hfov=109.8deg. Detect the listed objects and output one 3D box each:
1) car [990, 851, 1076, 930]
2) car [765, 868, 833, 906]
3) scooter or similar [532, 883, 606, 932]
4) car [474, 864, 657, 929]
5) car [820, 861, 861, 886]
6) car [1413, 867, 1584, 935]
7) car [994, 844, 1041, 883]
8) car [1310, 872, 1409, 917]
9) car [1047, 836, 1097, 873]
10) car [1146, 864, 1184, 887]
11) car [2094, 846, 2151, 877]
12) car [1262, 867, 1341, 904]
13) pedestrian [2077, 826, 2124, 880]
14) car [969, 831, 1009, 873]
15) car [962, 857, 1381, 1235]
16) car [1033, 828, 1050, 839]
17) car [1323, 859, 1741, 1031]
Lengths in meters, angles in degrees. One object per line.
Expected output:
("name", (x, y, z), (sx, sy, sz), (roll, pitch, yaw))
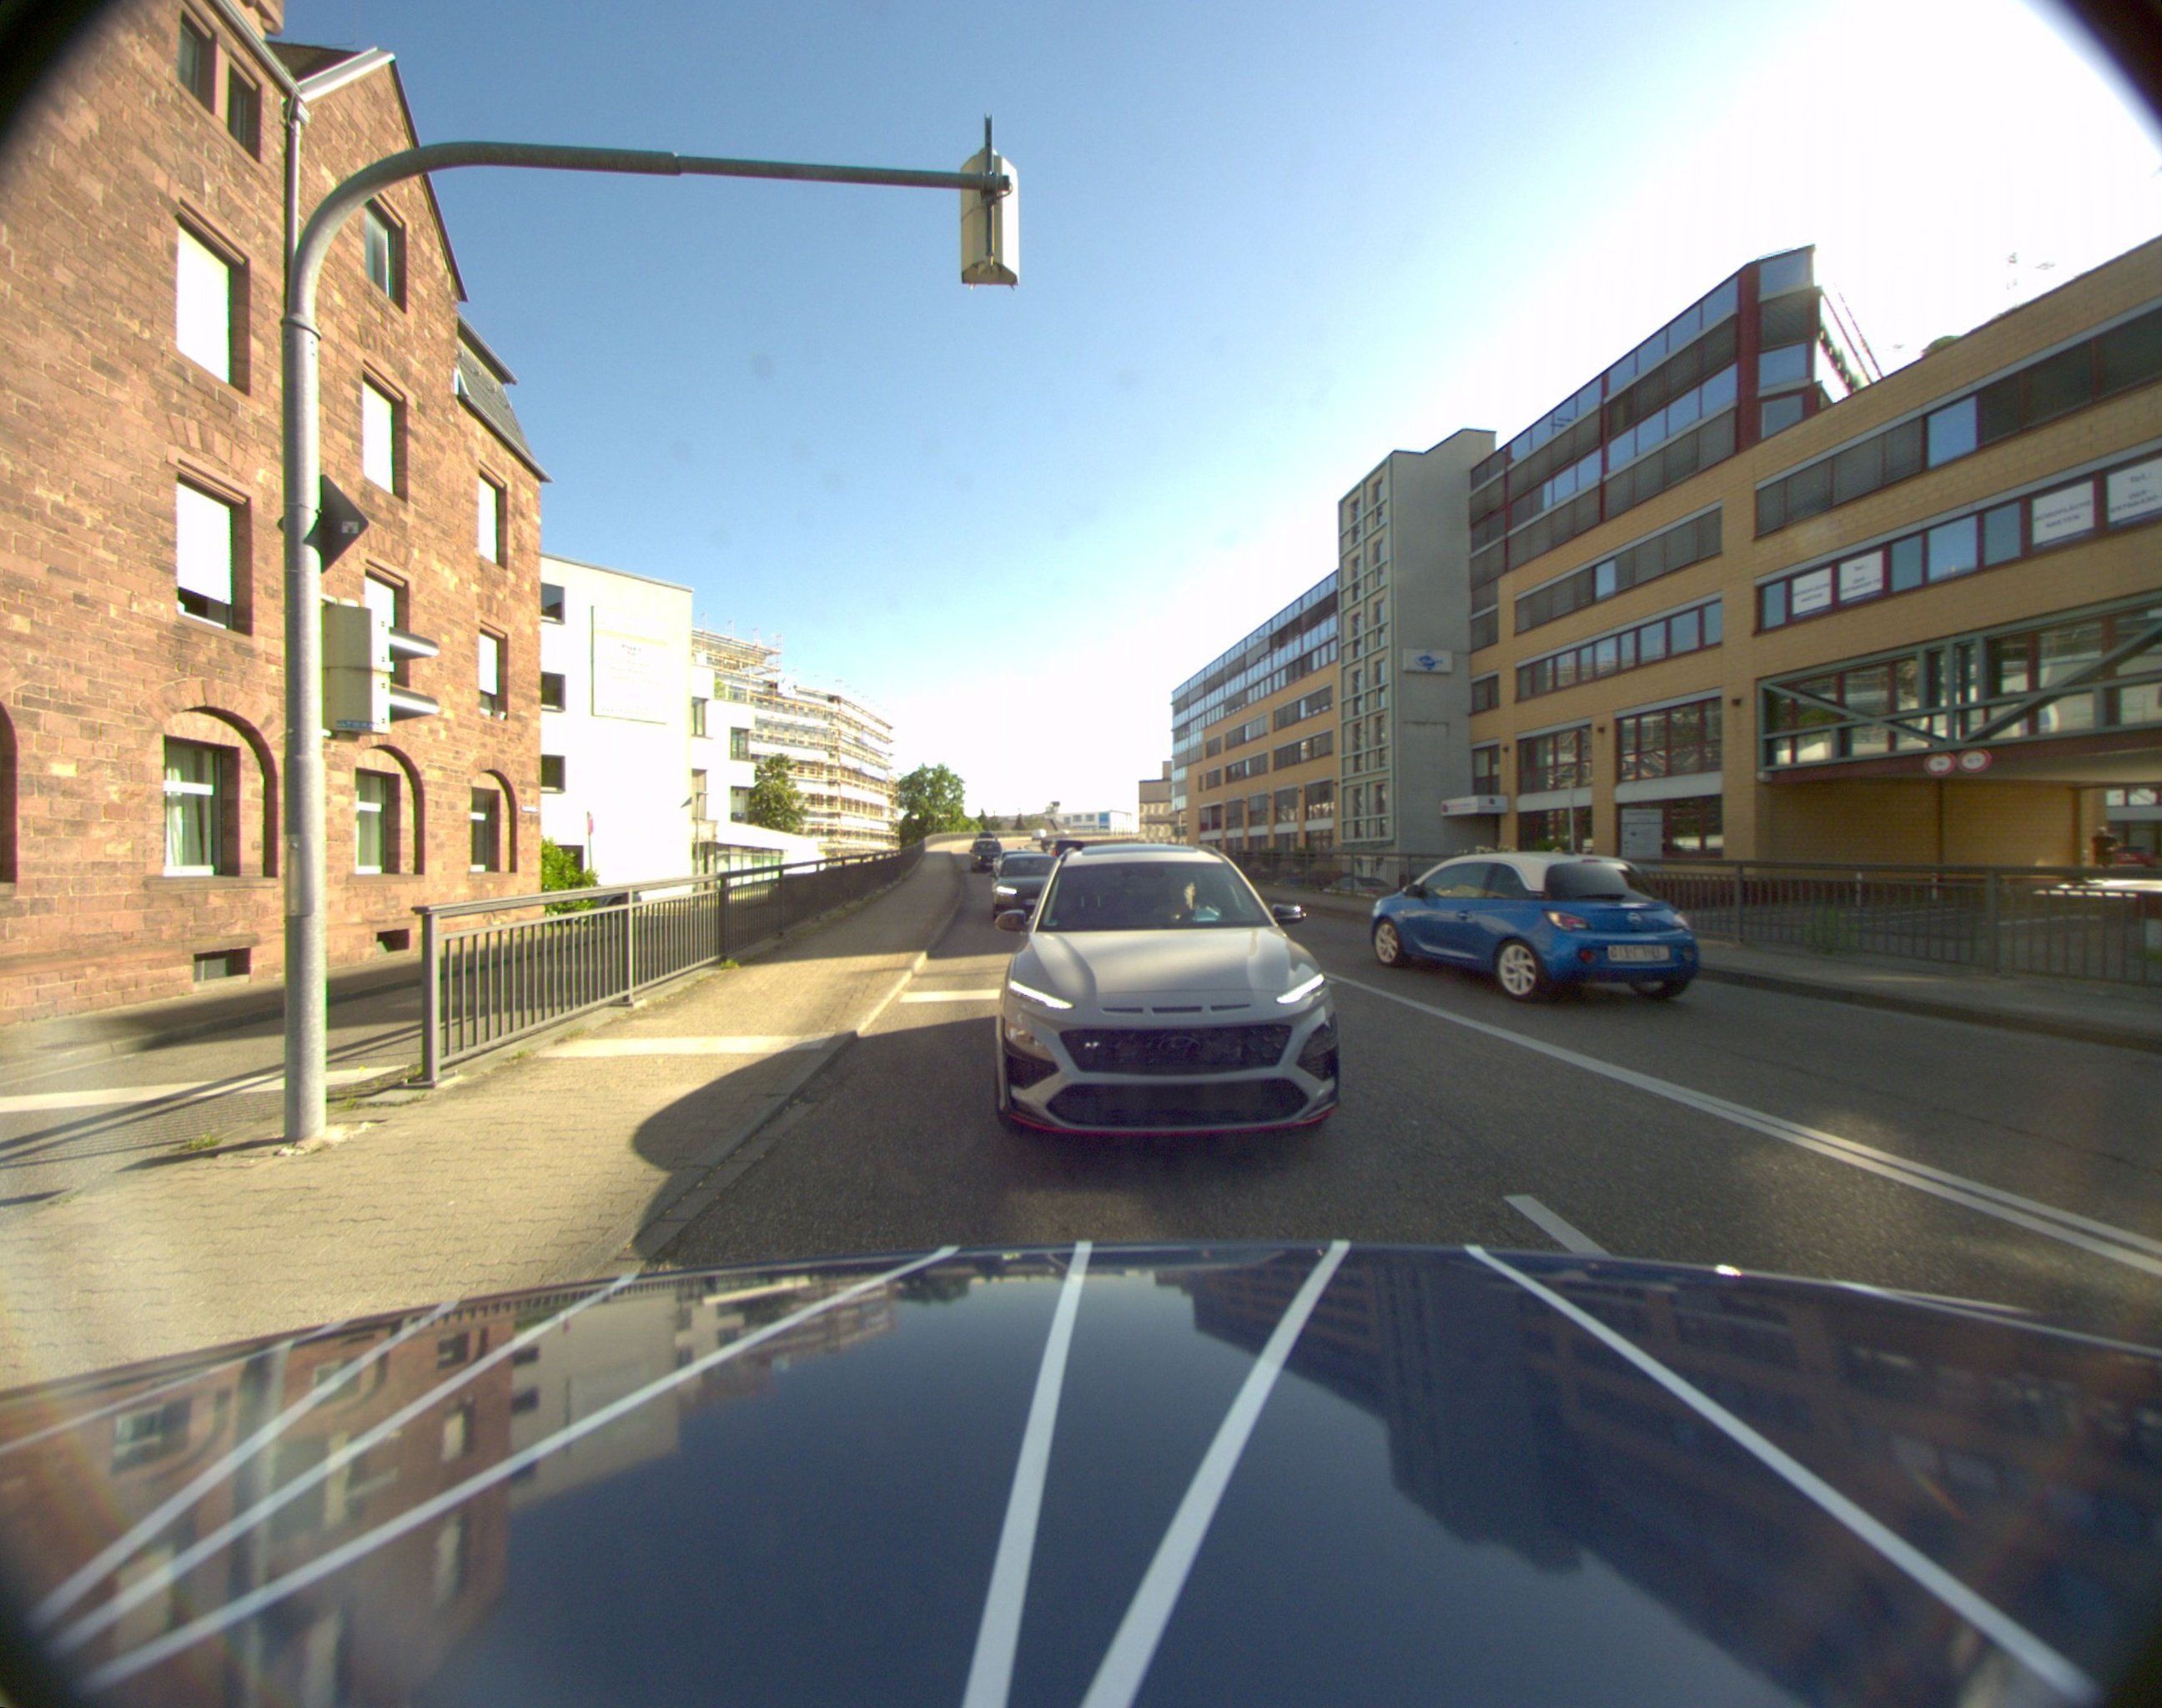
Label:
("car", (-1.109, 0.745, 17.602), (1.721, 1.483, 4.166), (-1, 2, -4))
("car", (-13.040, 1.494, 35.434), (1.850, 1.422, 4.678), (-1, 2, -6))
("scooter or similar", (-14.269, 1.474, 21.210), (1.463, 1.212, 0.784), (-3, 1, -14))
("car", (-16.975, 1.302, 25.226), (1.823, 1.757, 4.658), (1, 2, 42))
("car", (-15.524, 1.238, 49.181), (1.850, 1.526, 3.997), (0, 0, -7))
("car", (12.409, 1.305, 23.026), (1.957, 1.747, 4.683), (-1, 0, -11))
("car", (-2.861, 0.345, 33.596), (1.850, 1.527, 4.504), (-1, 2, -7))
("car", (11.089, 1.563, 30.609), (1.826, 1.594, 4.353), (0, 0, -10))
("car", (-0.554, 0.045, 41.709), (2.000, 1.924, 4.848), (0, 0, -10))
("car", (6.382, 1.602, 57.976), (2.000, 1.652, 3.997), (0, 0, -7))
("car", (53.702, 0.392, 39.221), (3.159, 1.564, 1.639), (0, -1, -38))
("car", (10.294, 1.424, 35.863), (1.826, 1.594, 4.353), (0, 0, -10))
("pedestrian", (34.903, -0.037, 26.011), (0.787, 1.833, 0.678), (0, 0, -12))
("car", (-5.355, -0.188, 43.700), (1.911, 2.202, 4.592), (-1, 2, -11))
("car", (0.314, 0.850, 5.472), (1.849, 1.561, 4.219), (-1, 1, -3))
("car", (-6.433, -3.361, 125.324), (1.813, 1.791, 5.124), (0, 0, 8))
("car", (4.744, 0.813, 8.946), (1.826, 1.494, 4.447), (0, 0, -9))
